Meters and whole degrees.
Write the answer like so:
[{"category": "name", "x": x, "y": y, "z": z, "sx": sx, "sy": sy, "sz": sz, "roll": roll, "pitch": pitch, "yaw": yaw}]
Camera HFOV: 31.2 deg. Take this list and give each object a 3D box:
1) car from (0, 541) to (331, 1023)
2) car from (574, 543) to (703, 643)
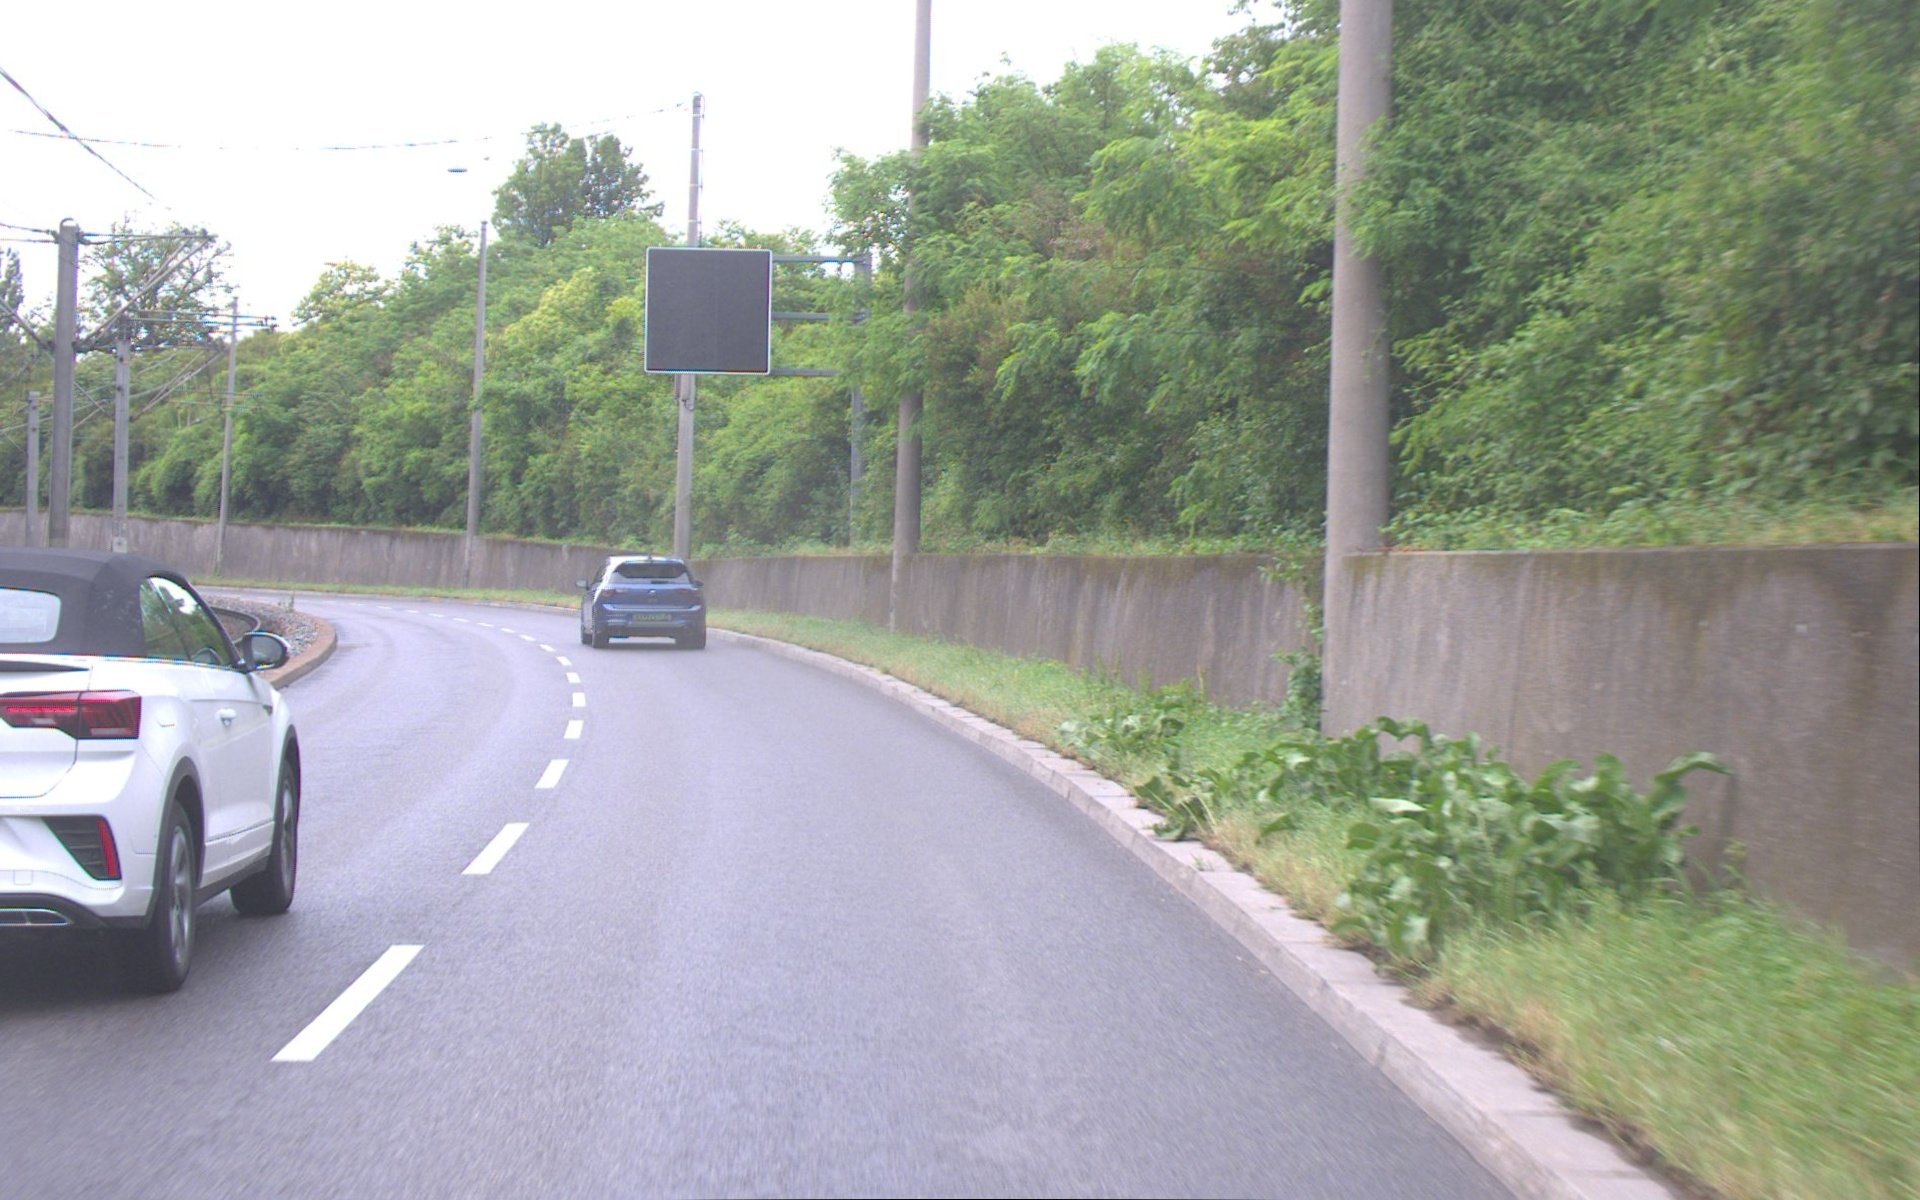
[{"category": "car", "x": -3.609, "y": 0.547, "z": 13.077, "sx": 1.871, "sy": 1.519, "sz": 4.541, "roll": 0, "pitch": 1, "yaw": -4}, {"category": "car", "x": -5.151, "y": -0.132, "z": 54.733, "sx": 1.763, "sy": 1.496, "sz": 4.001, "roll": 1, "pitch": 1, "yaw": -9}]
